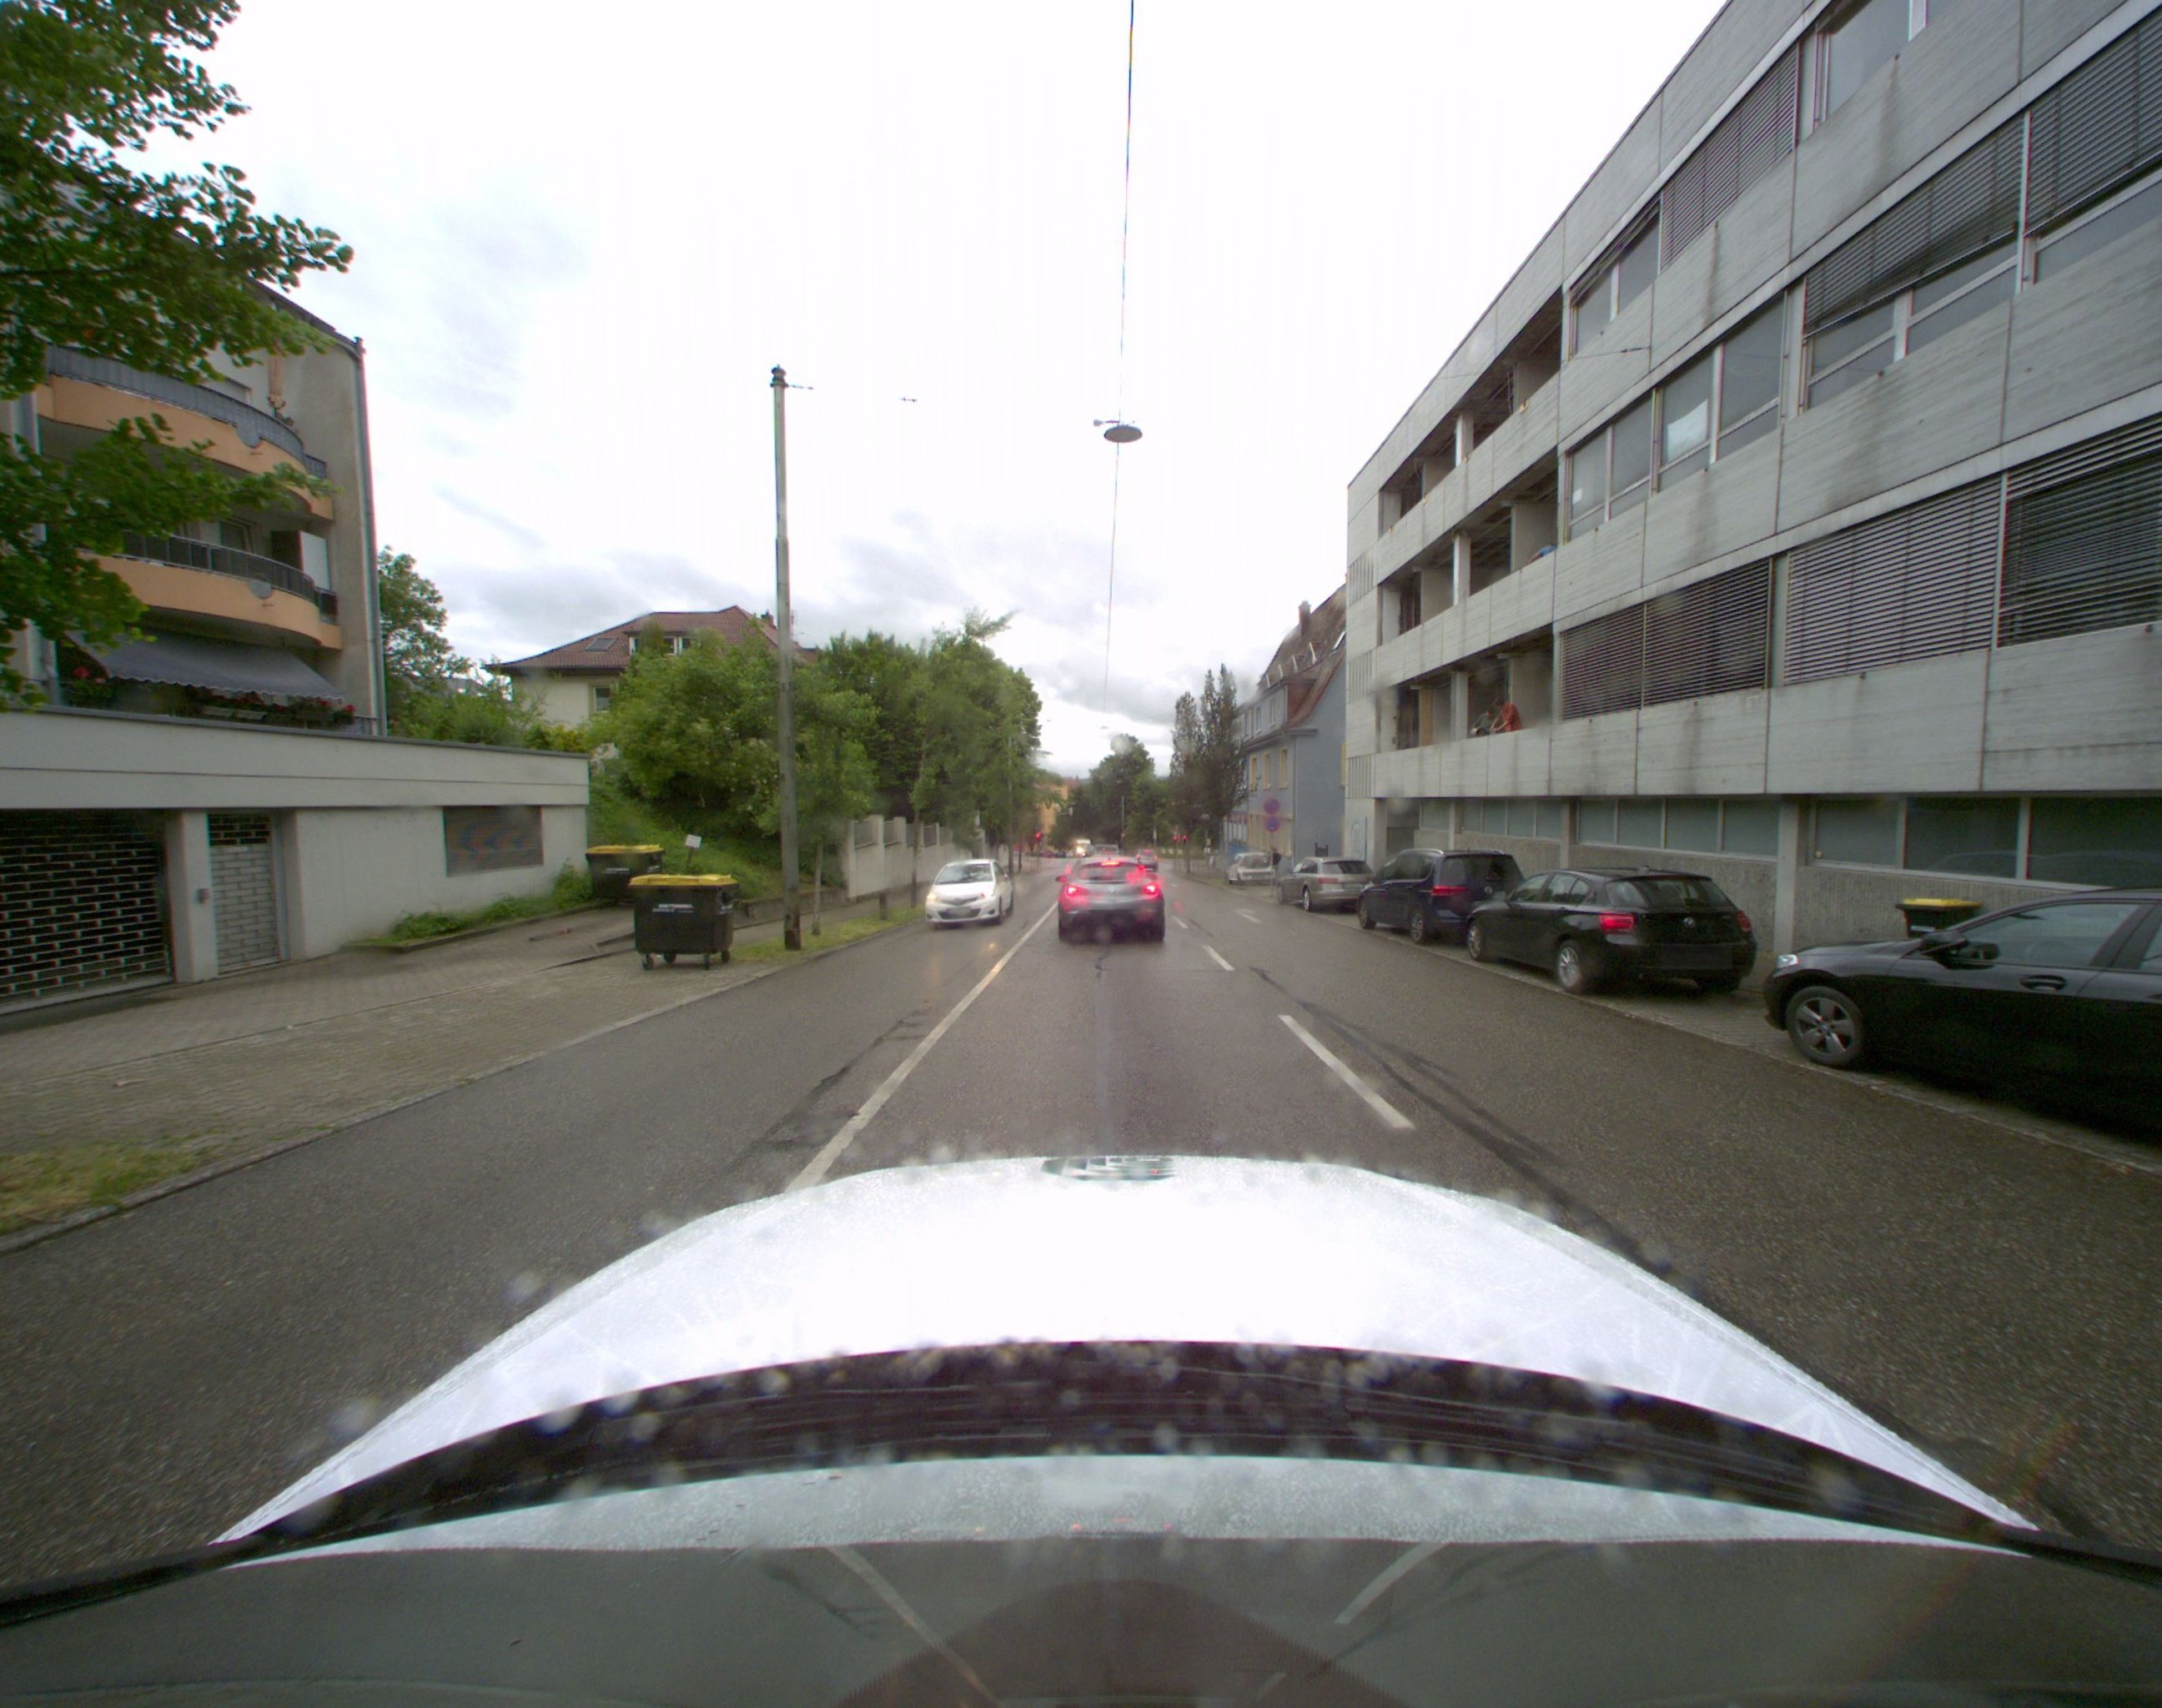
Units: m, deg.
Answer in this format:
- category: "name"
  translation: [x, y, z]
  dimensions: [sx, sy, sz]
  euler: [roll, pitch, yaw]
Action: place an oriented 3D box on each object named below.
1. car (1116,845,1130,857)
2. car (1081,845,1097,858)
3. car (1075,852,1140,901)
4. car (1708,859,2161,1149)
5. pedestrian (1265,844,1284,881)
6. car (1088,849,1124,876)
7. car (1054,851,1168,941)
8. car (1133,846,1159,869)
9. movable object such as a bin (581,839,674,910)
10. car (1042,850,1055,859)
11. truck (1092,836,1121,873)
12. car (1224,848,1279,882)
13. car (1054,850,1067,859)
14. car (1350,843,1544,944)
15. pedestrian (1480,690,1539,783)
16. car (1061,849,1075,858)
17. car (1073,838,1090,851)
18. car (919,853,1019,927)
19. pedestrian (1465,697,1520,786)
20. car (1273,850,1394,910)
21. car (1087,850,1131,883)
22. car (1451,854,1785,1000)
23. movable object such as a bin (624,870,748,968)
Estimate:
- category: "car"
  translation: [6.077, -0.413, 117.947]
  dimensions: [1.718, 1.638, 3.877]
  euler: [-2, 0, -2]
- category: "car"
  translation: [1.004, -0.304, 101.758]
  dimensions: [1.864, 1.638, 3.880]
  euler: [-2, 0, 1]
- category: "car"
  translation: [0.829, 0.690, 26.984]
  dimensions: [1.955, 1.448, 4.305]
  euler: [0, 0, 1]
- category: "car"
  translation: [6.487, 0.776, 4.924]
  dimensions: [1.987, 1.435, 4.442]
  euler: [0, 0, 0]
- category: "pedestrian"
  translation: [9.151, 0.400, 38.523]
  dimensions: [0.780, 1.729, 0.651]
  euler: [0, 0, 1]
- category: "car"
  translation: [1.389, 0.468, 46.189]
  dimensions: [1.955, 1.448, 4.305]
  euler: [0, 0, 1]
- category: "car"
  translation: [0.480, 0.674, 15.133]
  dimensions: [1.831, 1.434, 3.879]
  euler: [-1, 0, 0]
- category: "car"
  translation: [5.106, 0.251, 64.148]
  dimensions: [1.717, 1.714, 3.879]
  euler: [-2, 0, 0]
- category: "movable object such as a bin"
  translation: [-9.768, 0.412, 17.615]
  dimensions: [1.296, 1.363, 1.225]
  euler: [0, 6, -5]
- category: "car"
  translation: [-6.680, 0.107, 167.477]
  dimensions: [1.726, 1.638, 3.858]
  euler: [-2, 0, -16]
- category: "truck"
  translation: [1.714, 0.038, 56.190]
  dimensions: [1.955, 2.429, 4.936]
  euler: [0, 0, 1]
- category: "car"
  translation: [7.805, 0.492, 37.634]
  dimensions: [1.717, 1.448, 3.880]
  euler: [-2, 0, 1]
- category: "car"
  translation: [-3.599, 0.081, 142.571]
  dimensions: [1.722, 1.638, 3.867]
  euler: [0, -1, -9]
- category: "car"
  translation: [6.561, 0.627, 15.157]
  dimensions: [1.723, 1.599, 4.160]
  euler: [-1, 0, 0]
- category: "pedestrian"
  translation: [9.806, -2.667, 18.677]
  dimensions: [0.904, 2.014, 0.861]
  euler: [0, -1, 1]
- category: "car"
  translation: [-2.400, -0.075, 148.569]
  dimensions: [1.726, 1.543, 3.858]
  euler: [-2, 0, -16]
- category: "car"
  translation: [0.072, -1.219, 109.425]
  dimensions: [1.721, 1.638, 3.870]
  euler: [-2, 0, -7]
- category: "car"
  translation: [-2.598, 0.785, 19.798]
  dimensions: [1.703, 1.531, 3.843]
  euler: [-3, 0, 1]
- category: "pedestrian"
  translation: [9.976, -2.712, 19.789]
  dimensions: [0.904, 2.014, 0.861]
  euler: [0, -1, 1]
- category: "car"
  translation: [6.887, 0.643, 22.763]
  dimensions: [1.956, 1.448, 4.526]
  euler: [-1, 0, 0]
- category: "car"
  translation: [1.261, 0.539, 38.525]
  dimensions: [1.955, 1.448, 4.305]
  euler: [0, 0, 1]
- category: "car"
  translation: [6.495, 0.760, 10.520]
  dimensions: [1.740, 1.448, 4.256]
  euler: [-1, 0, 4]
- category: "movable object such as a bin"
  translation: [-5.715, 0.905, 11.891]
  dimensions: [1.296, 1.306, 1.153]
  euler: [0, 1, -7]
